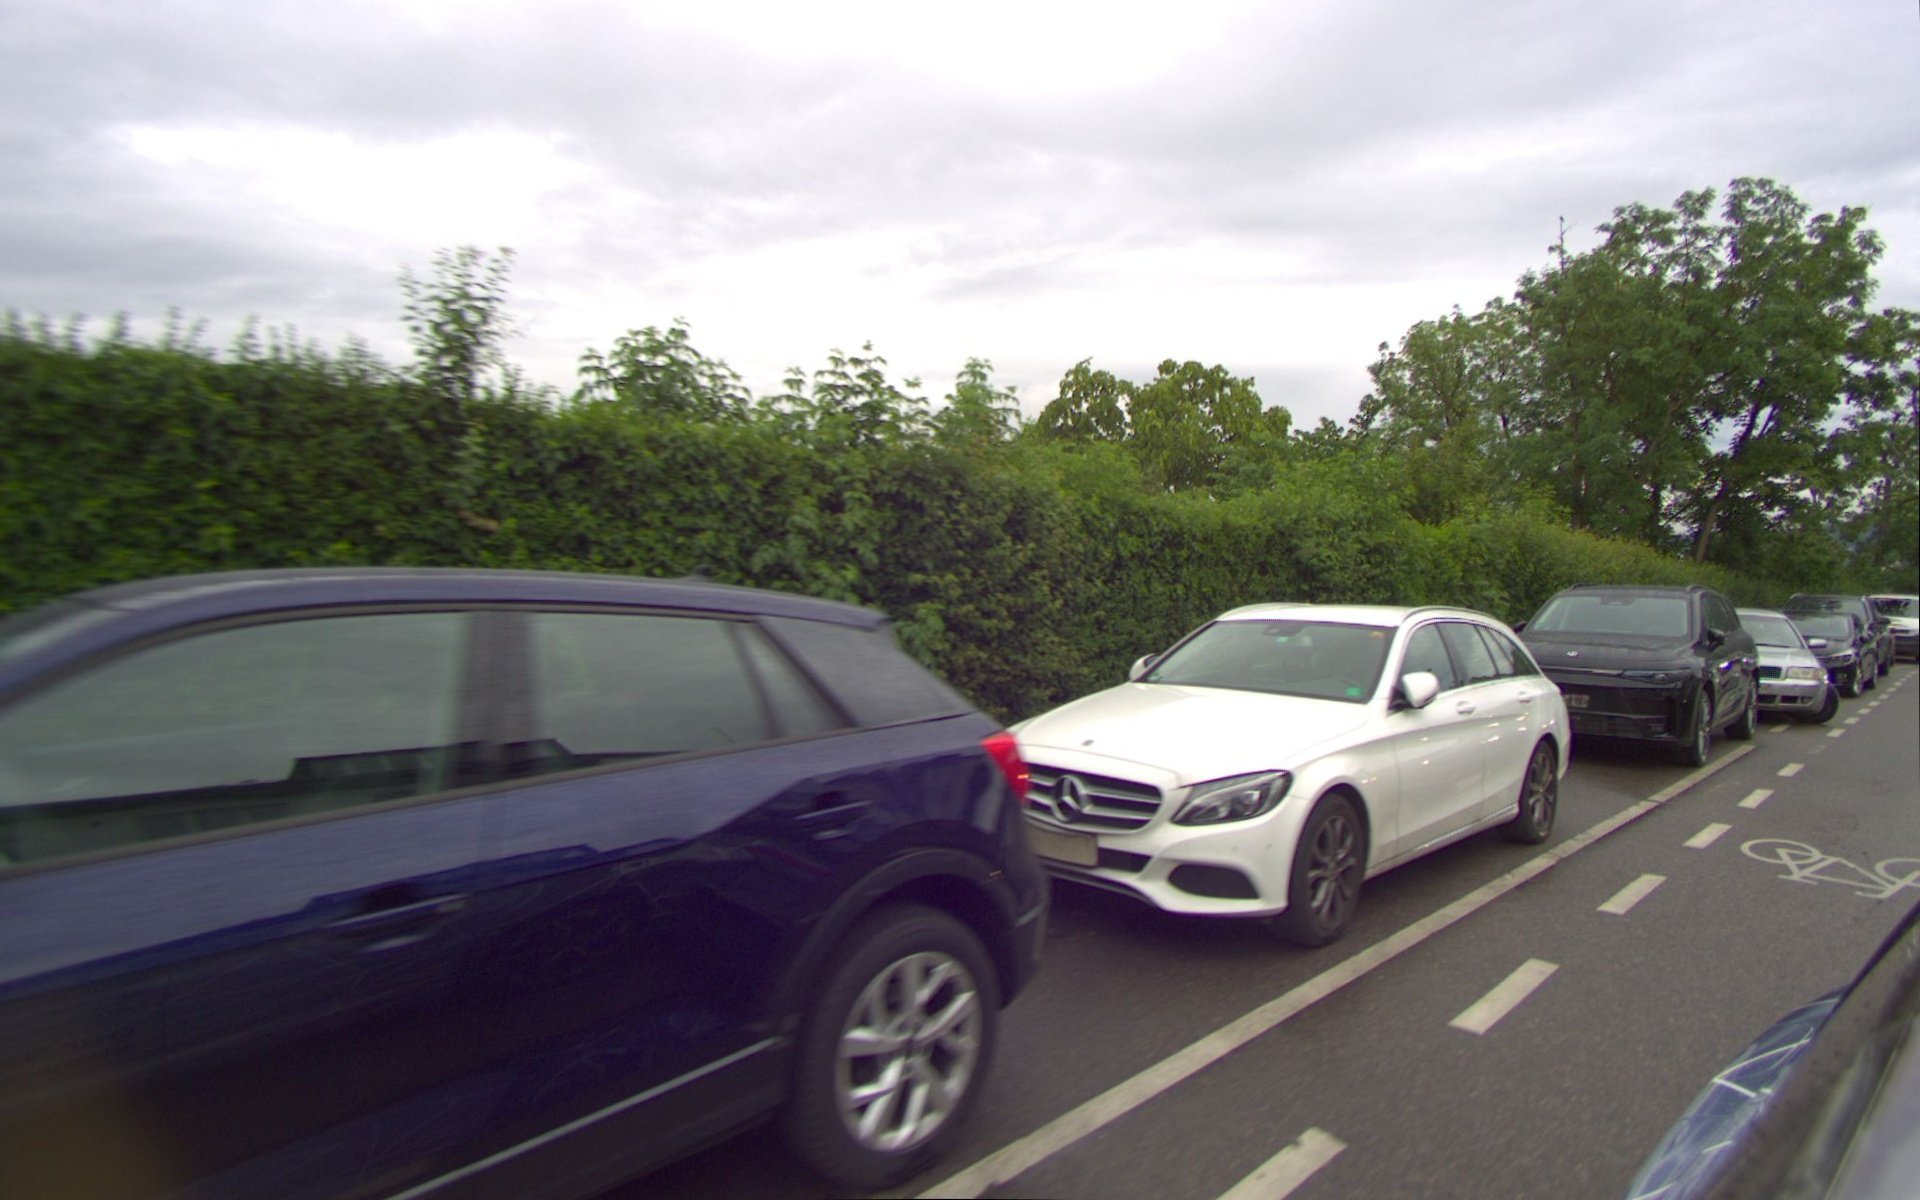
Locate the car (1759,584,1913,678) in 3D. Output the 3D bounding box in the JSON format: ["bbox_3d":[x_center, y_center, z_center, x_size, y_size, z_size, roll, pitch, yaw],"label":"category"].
[{"bbox_3d":[19.646,0.648,22.609,4.815,1.805,2.030,1,1,-43],"label":"car"}]

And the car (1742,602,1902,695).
[{"bbox_3d":[15.790,0.794,18.481,3.915,1.439,1.691,0,2,-42],"label":"car"}]

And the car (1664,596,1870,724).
[{"bbox_3d":[11.233,0.723,14.399,1.792,1.458,4.587,2,1,33],"label":"car"}]

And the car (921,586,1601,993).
[{"bbox_3d":[2.042,0.692,5.807,4.531,1.423,1.715,1,1,-44],"label":"car"}]

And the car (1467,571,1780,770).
[{"bbox_3d":[7.234,0.596,10.824,4.473,1.684,1.888,1,0,-44],"label":"car"}]

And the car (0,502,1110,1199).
[{"bbox_3d":[-1.664,0.625,2.153,4.136,1.549,1.756,0,1,-44],"label":"car"}]

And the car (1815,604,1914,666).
[{"bbox_3d":[23.756,0.879,26.530,3.681,1.431,1.672,1,2,-45],"label":"car"}]

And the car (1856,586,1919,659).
[{"bbox_3d":[28.610,0.684,30.080,4.716,1.971,1.867,2,3,-36],"label":"car"}]
